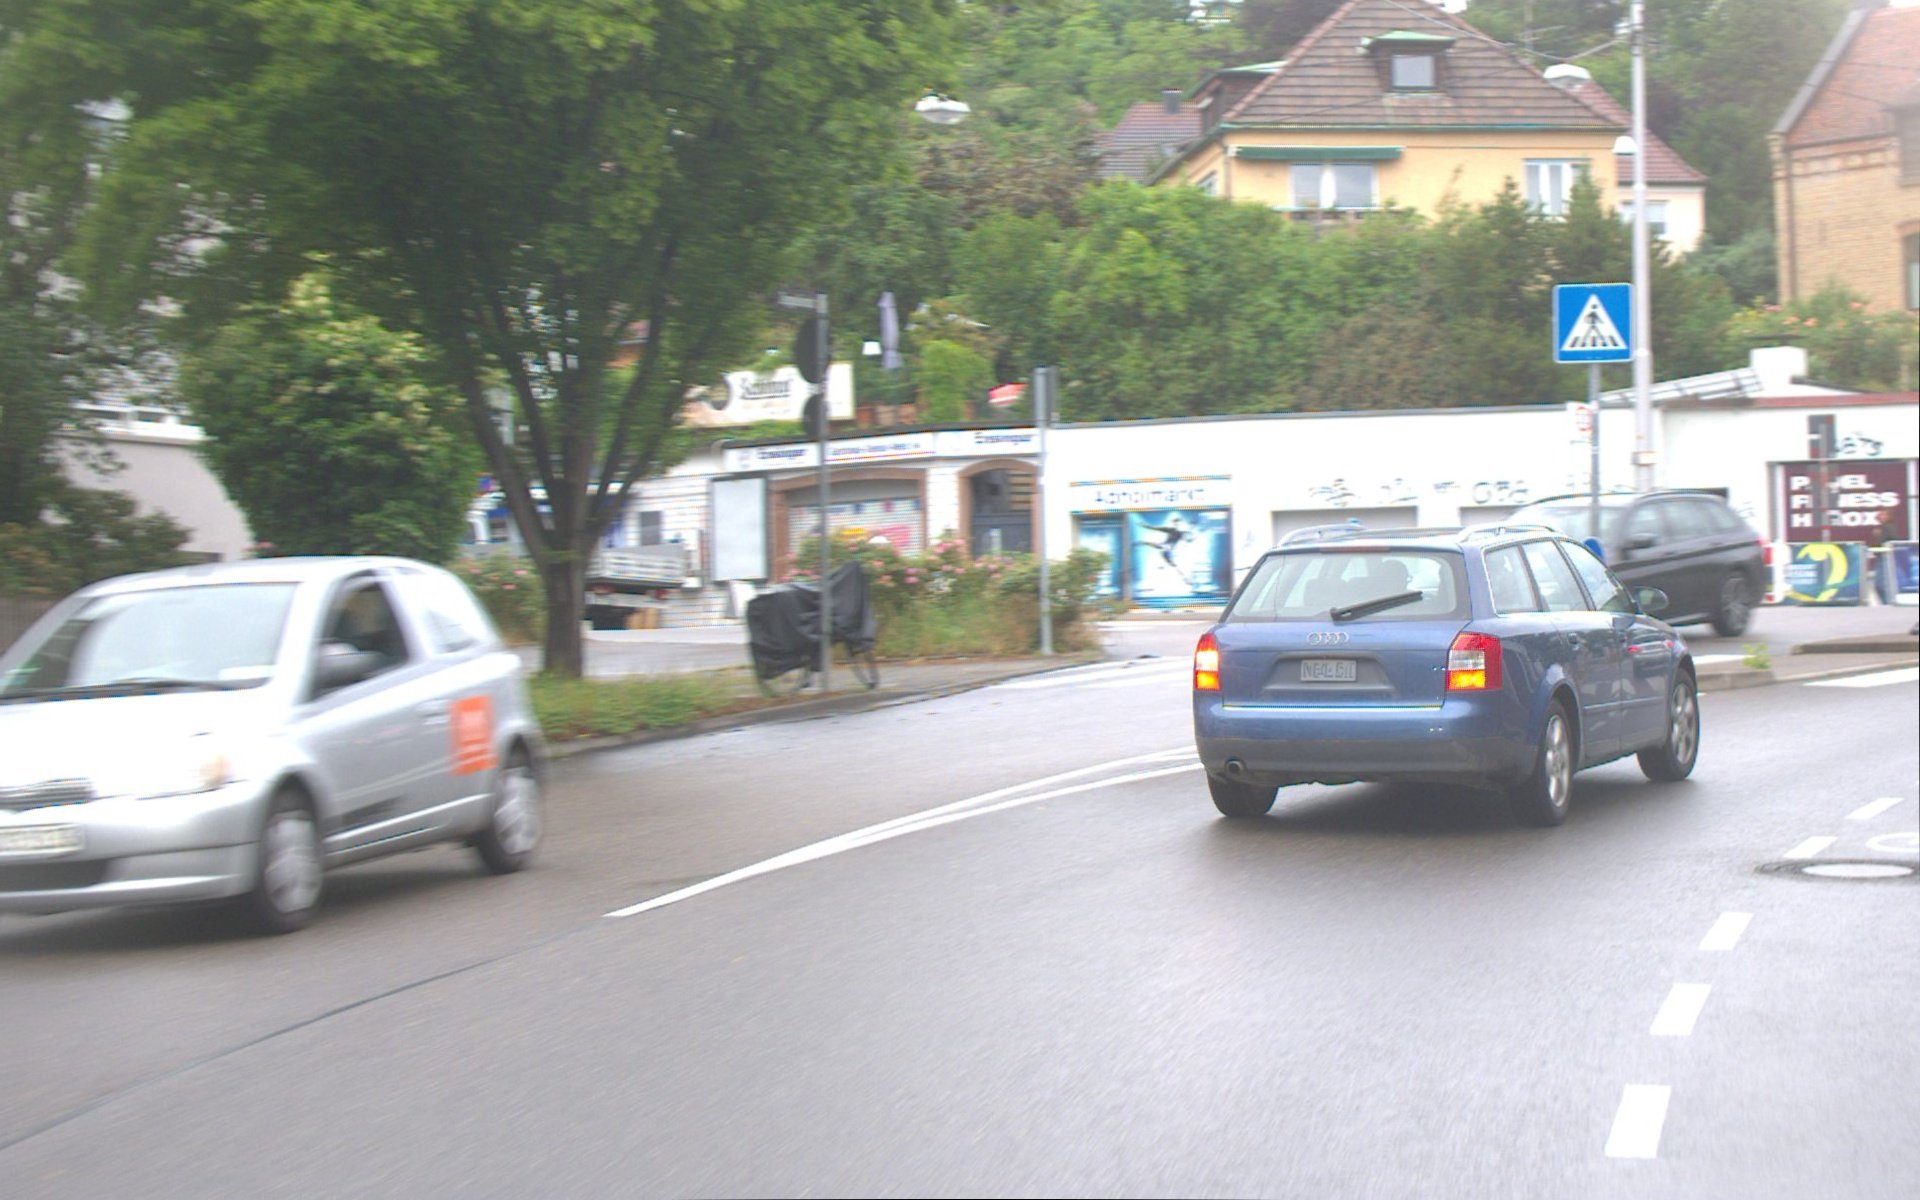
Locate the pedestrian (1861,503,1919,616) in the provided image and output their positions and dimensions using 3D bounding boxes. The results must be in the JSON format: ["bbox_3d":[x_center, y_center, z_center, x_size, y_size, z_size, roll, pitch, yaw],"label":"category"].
[{"bbox_3d":[14.232,-0.613,52.544,0.582,1.683,0.626,-3,-1,-15],"label":"pedestrian"}]

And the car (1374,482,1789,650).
[{"bbox_3d":[6.165,-0.343,33.720,1.874,1.486,4.626,-2,-1,41],"label":"car"}]

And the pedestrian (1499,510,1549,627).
[{"bbox_3d":[8.795,-0.497,53.584,0.704,1.799,0.808,-1,1,13],"label":"pedestrian"}]

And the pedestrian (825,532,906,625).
[{"bbox_3d":[-1.558,-0.365,56.719,0.977,1.500,0.889,2,3,37],"label":"pedestrian"}]

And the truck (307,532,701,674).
[{"bbox_3d":[-7.788,-0.010,58.304,6.801,2.261,2.310,1,1,34],"label":"truck"}]

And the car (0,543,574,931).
[{"bbox_3d":[-3.067,0.472,14.772,1.488,1.418,3.854,1,1,15],"label":"car"}]

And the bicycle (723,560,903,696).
[{"bbox_3d":[-1.294,0.233,30.722,0.421,1.081,1.959,0,4,37],"label":"bicycle"}]

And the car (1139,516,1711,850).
[{"bbox_3d":[2.522,0.322,17.724,1.814,1.434,4.076,1,3,25],"label":"car"}]
